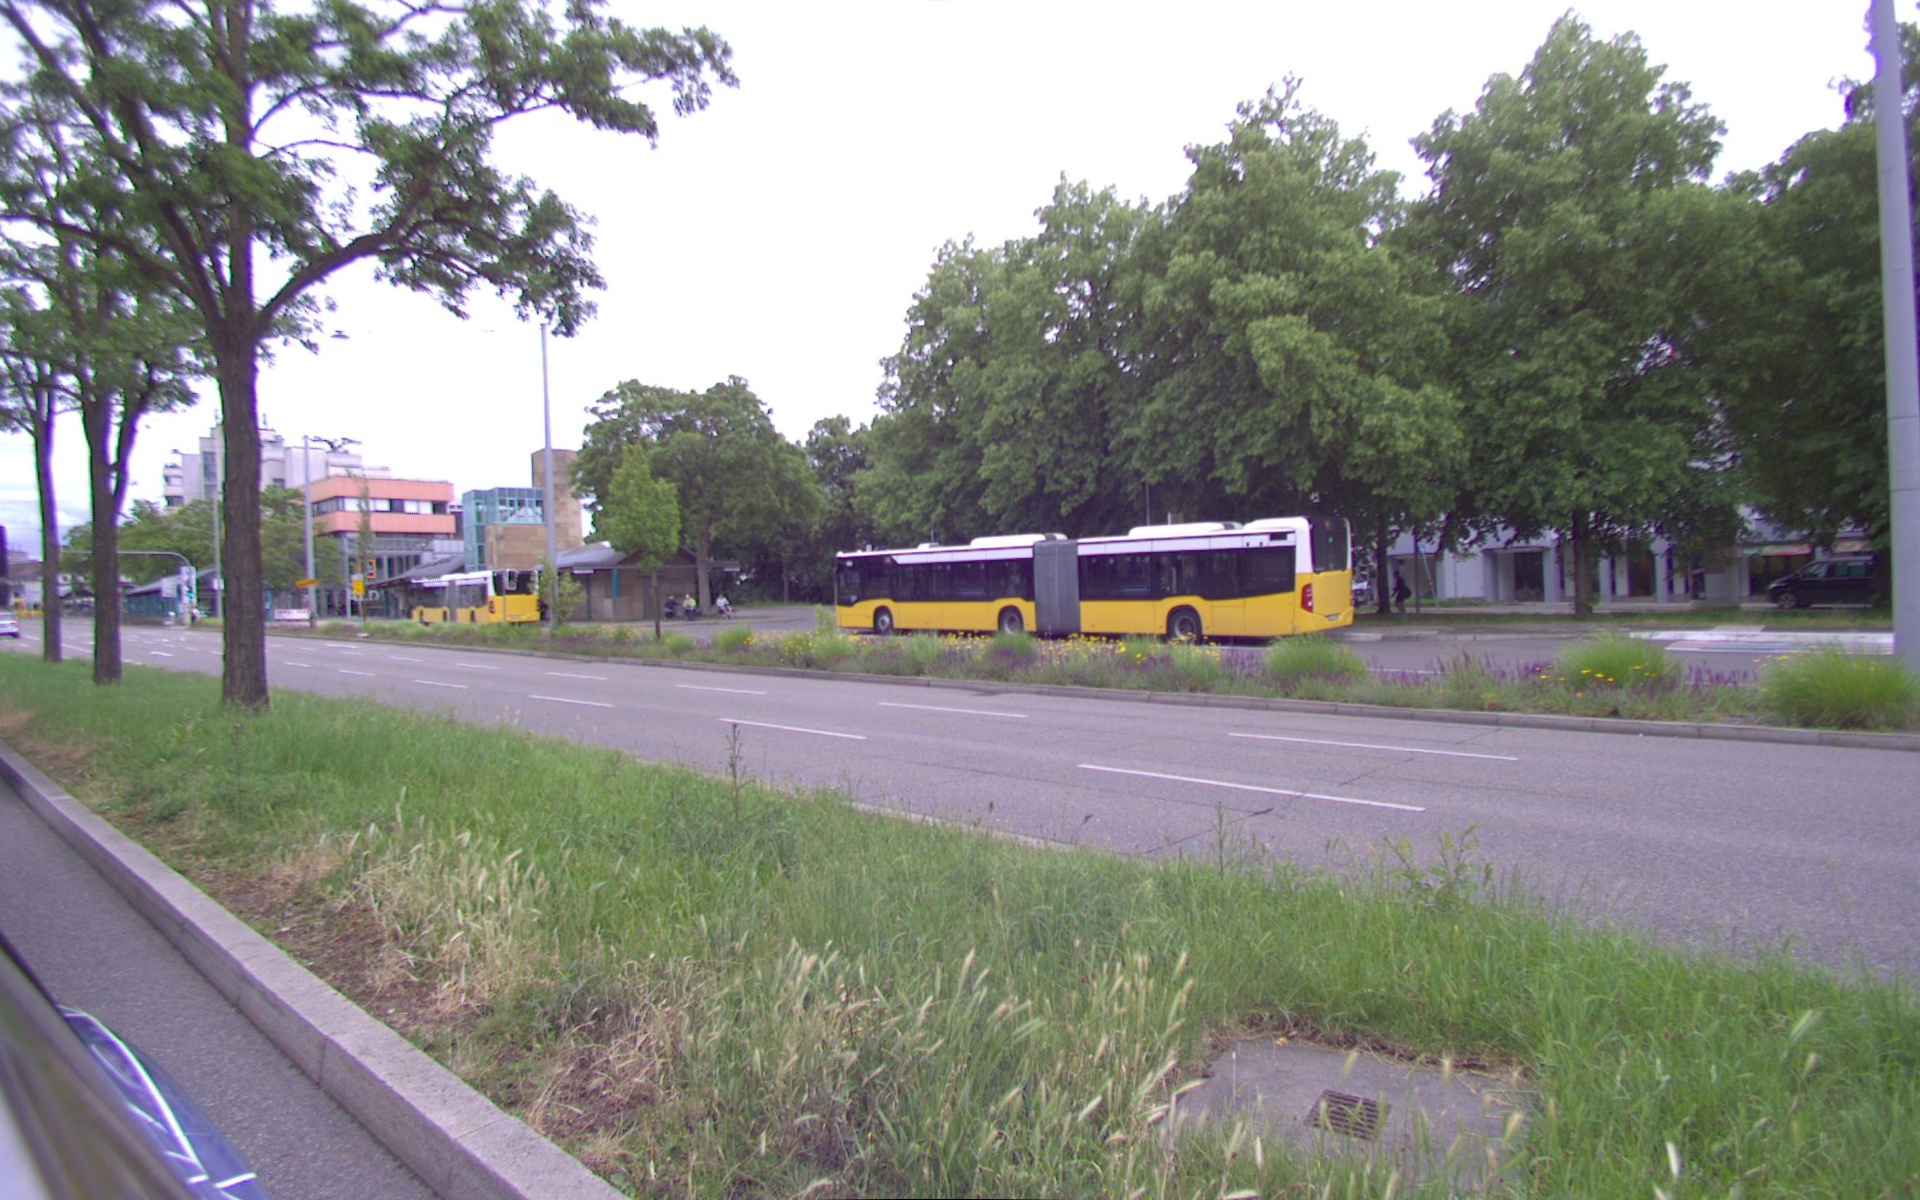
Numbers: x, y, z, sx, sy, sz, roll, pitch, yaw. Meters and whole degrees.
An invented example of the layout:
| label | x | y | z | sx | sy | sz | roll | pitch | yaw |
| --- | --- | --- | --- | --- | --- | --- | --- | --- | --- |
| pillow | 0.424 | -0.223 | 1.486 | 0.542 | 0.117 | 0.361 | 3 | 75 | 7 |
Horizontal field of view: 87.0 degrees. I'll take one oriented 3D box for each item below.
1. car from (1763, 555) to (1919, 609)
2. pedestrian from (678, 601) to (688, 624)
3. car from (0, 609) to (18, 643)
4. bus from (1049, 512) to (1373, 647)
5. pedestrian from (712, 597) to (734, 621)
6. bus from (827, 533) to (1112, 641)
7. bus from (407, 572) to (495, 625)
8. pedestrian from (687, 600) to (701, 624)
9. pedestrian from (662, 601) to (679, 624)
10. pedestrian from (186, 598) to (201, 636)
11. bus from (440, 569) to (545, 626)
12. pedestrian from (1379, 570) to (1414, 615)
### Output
| label | x | y | z | sx | sy | sz | roll | pitch | yaw |
| --- | --- | --- | --- | --- | --- | --- | --- | --- | --- |
| car | 33.065 | -0.634 | 37.835 | 1.758 | 1.861 | 4.429 | -1 | 0 | -35 |
| pedestrian | -13.800 | 0.621 | 50.450 | 0.361 | 1.175 | 0.900 | -1 | 0 | -23 |
| car | -60.048 | 1.644 | 63.083 | 4.000 | 2.029 | 1.703 | -1 | 0 | 43 |
| bus | 6.279 | -0.427 | 26.518 | 2.849 | 3.025 | 7.889 | -1 | 0 | -44 |
| pedestrian | -11.981 | 0.460 | 51.165 | 0.924 | 1.180 | 0.641 | -1 | 0 | 41 |
| bus | -0.075 | -0.313 | 33.126 | 2.848 | 3.025 | 10.401 | -1 | 0 | -44 |
| bus | -31.385 | -0.042 | 62.180 | 2.846 | 3.025 | 9.191 | -1 | 0 | -39 |
| pedestrian | -13.315 | 0.615 | 50.623 | 0.589 | 1.171 | 0.745 | -1 | 0 | -23 |
| pedestrian | -14.917 | 0.635 | 52.155 | 0.590 | 1.171 | 0.744 | -1 | 0 | -35 |
| pedestrian | -58.519 | 1.294 | 77.285 | 0.889 | 2.809 | 1.150 | -1 | 0 | -36 |
| bus | -25.710 | -0.082 | 55.348 | 2.846 | 2.830 | 9.190 | -1 | 0 | -40 |
| pedestrian | 15.440 | -0.269 | 35.812 | 0.904 | 1.569 | 0.761 | -2 | 0 | 41 |
